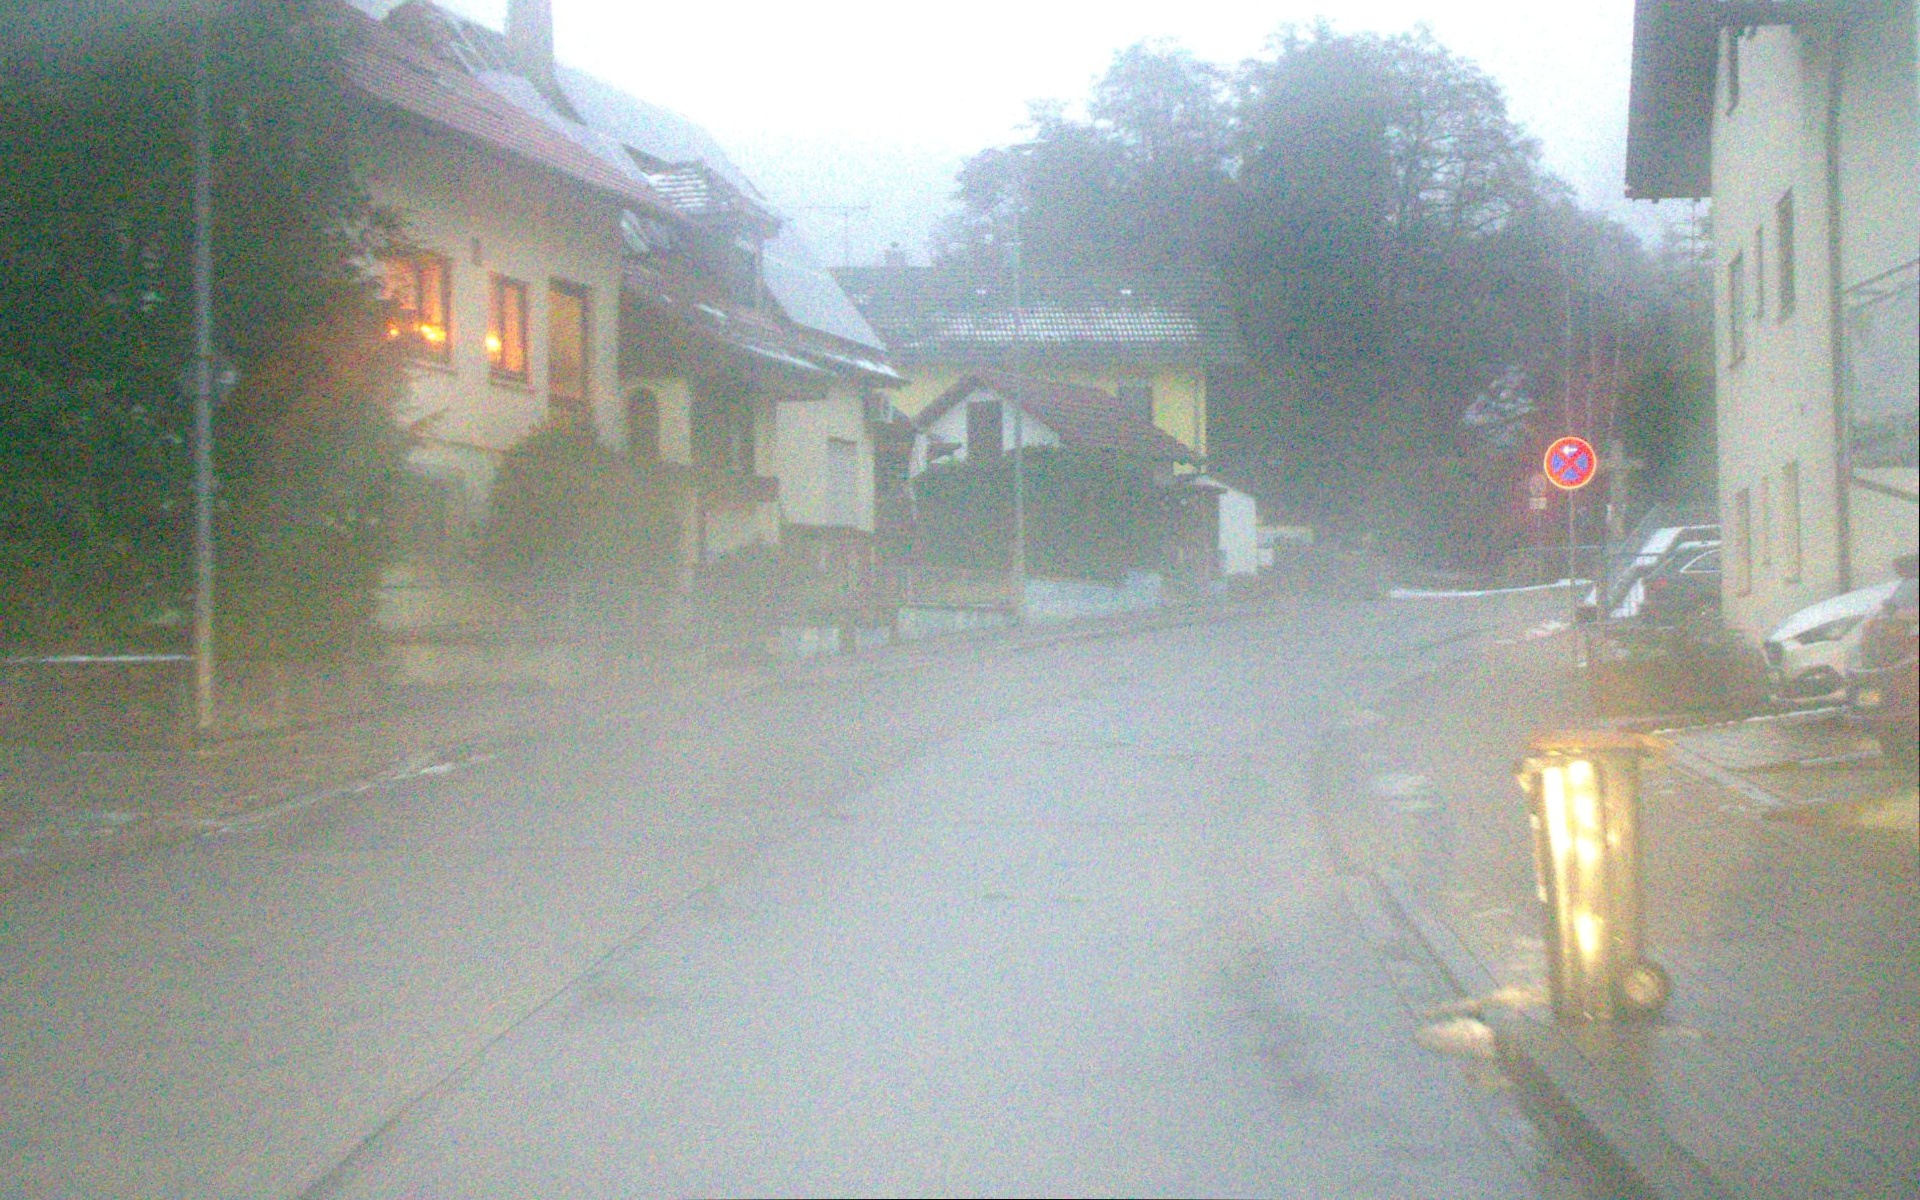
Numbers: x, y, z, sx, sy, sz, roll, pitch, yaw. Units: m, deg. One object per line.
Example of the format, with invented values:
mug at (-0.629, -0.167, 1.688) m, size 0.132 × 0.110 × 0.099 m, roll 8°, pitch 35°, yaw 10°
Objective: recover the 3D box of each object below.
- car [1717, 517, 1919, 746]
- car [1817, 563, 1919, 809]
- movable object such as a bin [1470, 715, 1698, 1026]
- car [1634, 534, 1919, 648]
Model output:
car at (7.970, -0.002, 25.387) m, size 4.280 × 1.452 × 1.779 m, roll -9°, pitch 0°, yaw 5°
car at (7.530, 0.500, 21.315) m, size 3.987 × 1.452 × 1.690 m, roll 0°, pitch 1°, yaw -1°
movable object such as a bin at (2.053, 0.881, 11.364) m, size 0.614 × 0.943 × 0.595 m, roll -4°, pitch -1°, yaw 4°
car at (12.029, -0.146, 49.314) m, size 4.507 × 1.439 × 1.999 m, roll -2°, pitch 1°, yaw 14°
